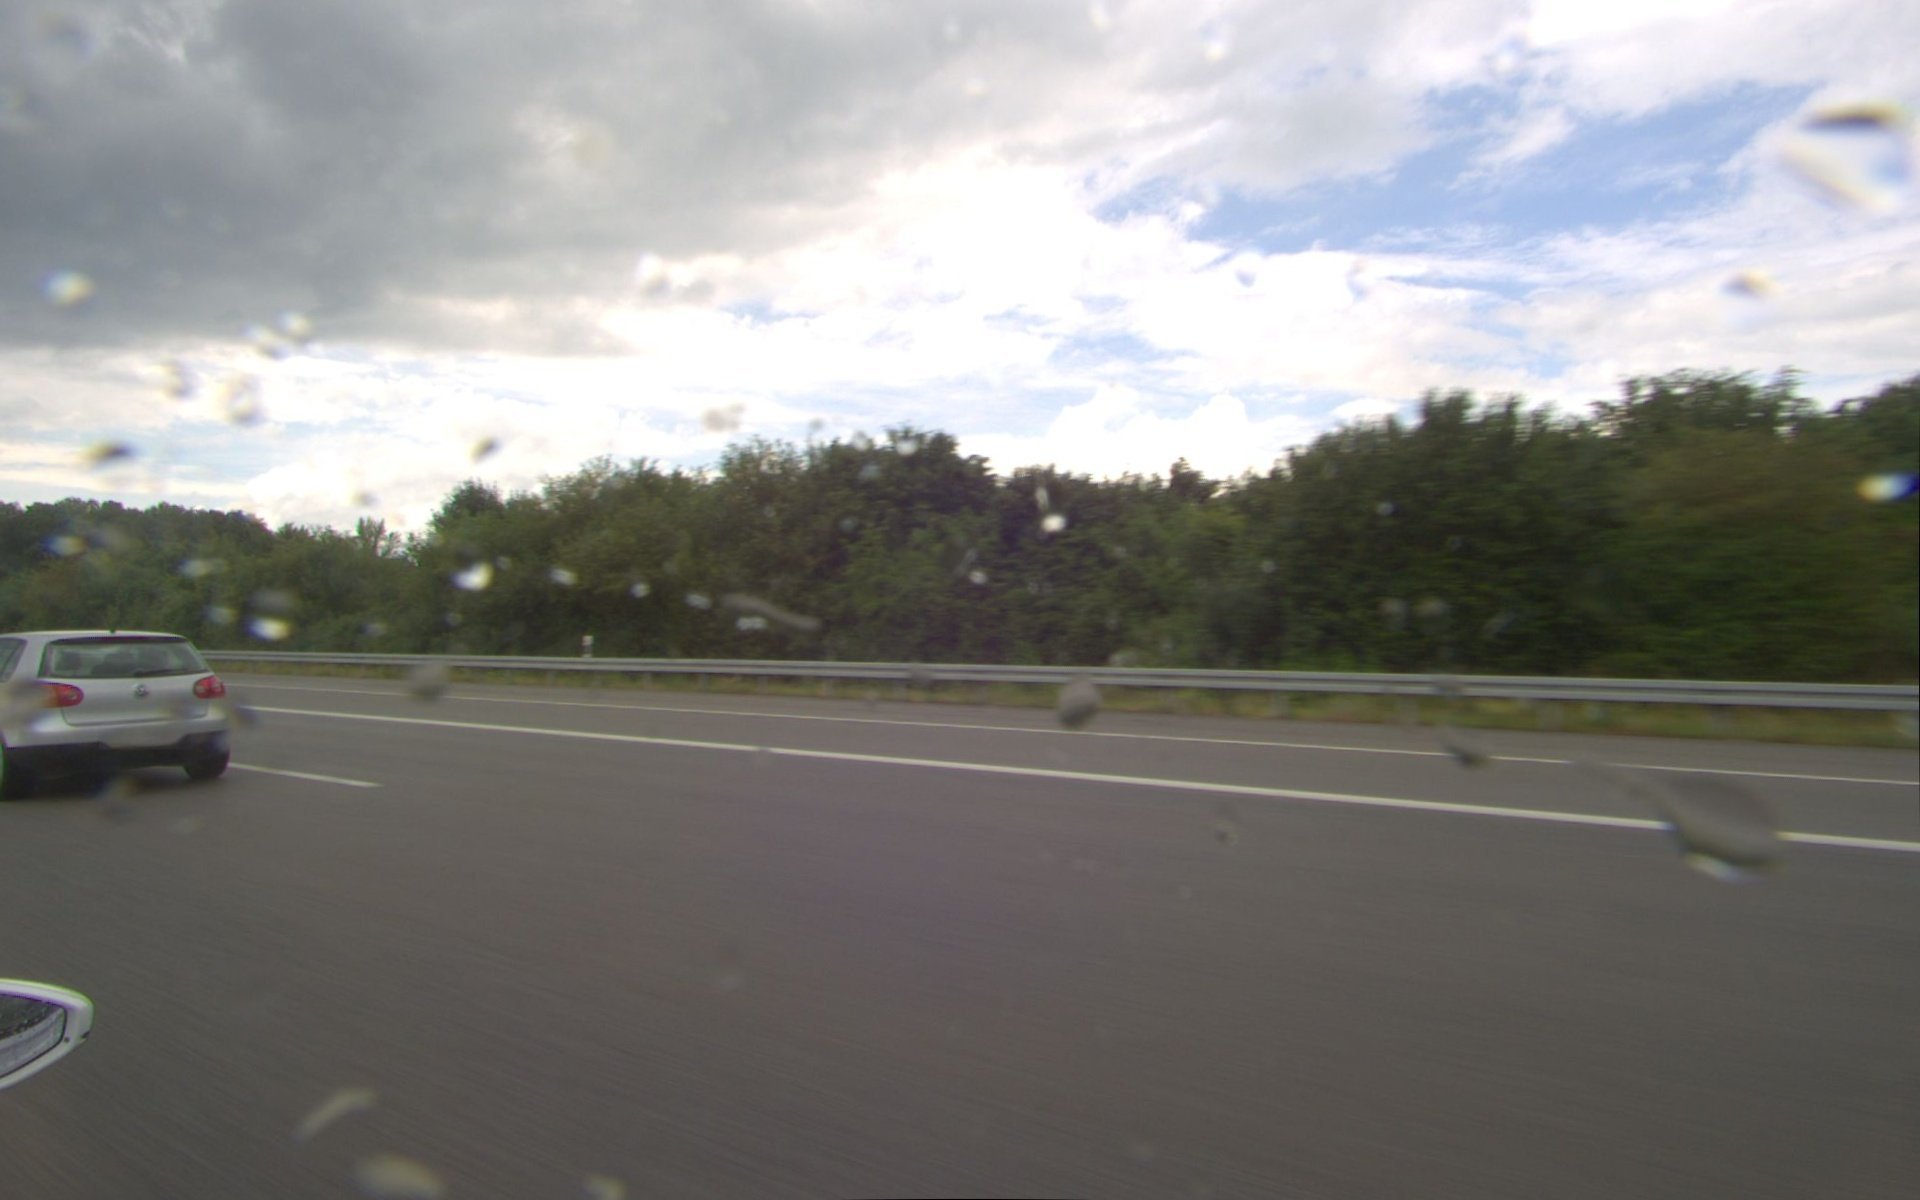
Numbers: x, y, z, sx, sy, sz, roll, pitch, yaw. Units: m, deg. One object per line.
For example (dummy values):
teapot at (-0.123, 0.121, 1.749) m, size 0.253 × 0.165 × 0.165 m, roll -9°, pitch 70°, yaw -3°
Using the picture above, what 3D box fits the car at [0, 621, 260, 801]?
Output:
car at (-9.038, 0.969, 10.146) m, size 3.980 × 1.496 × 1.792 m, roll -1°, pitch -1°, yaw 32°
